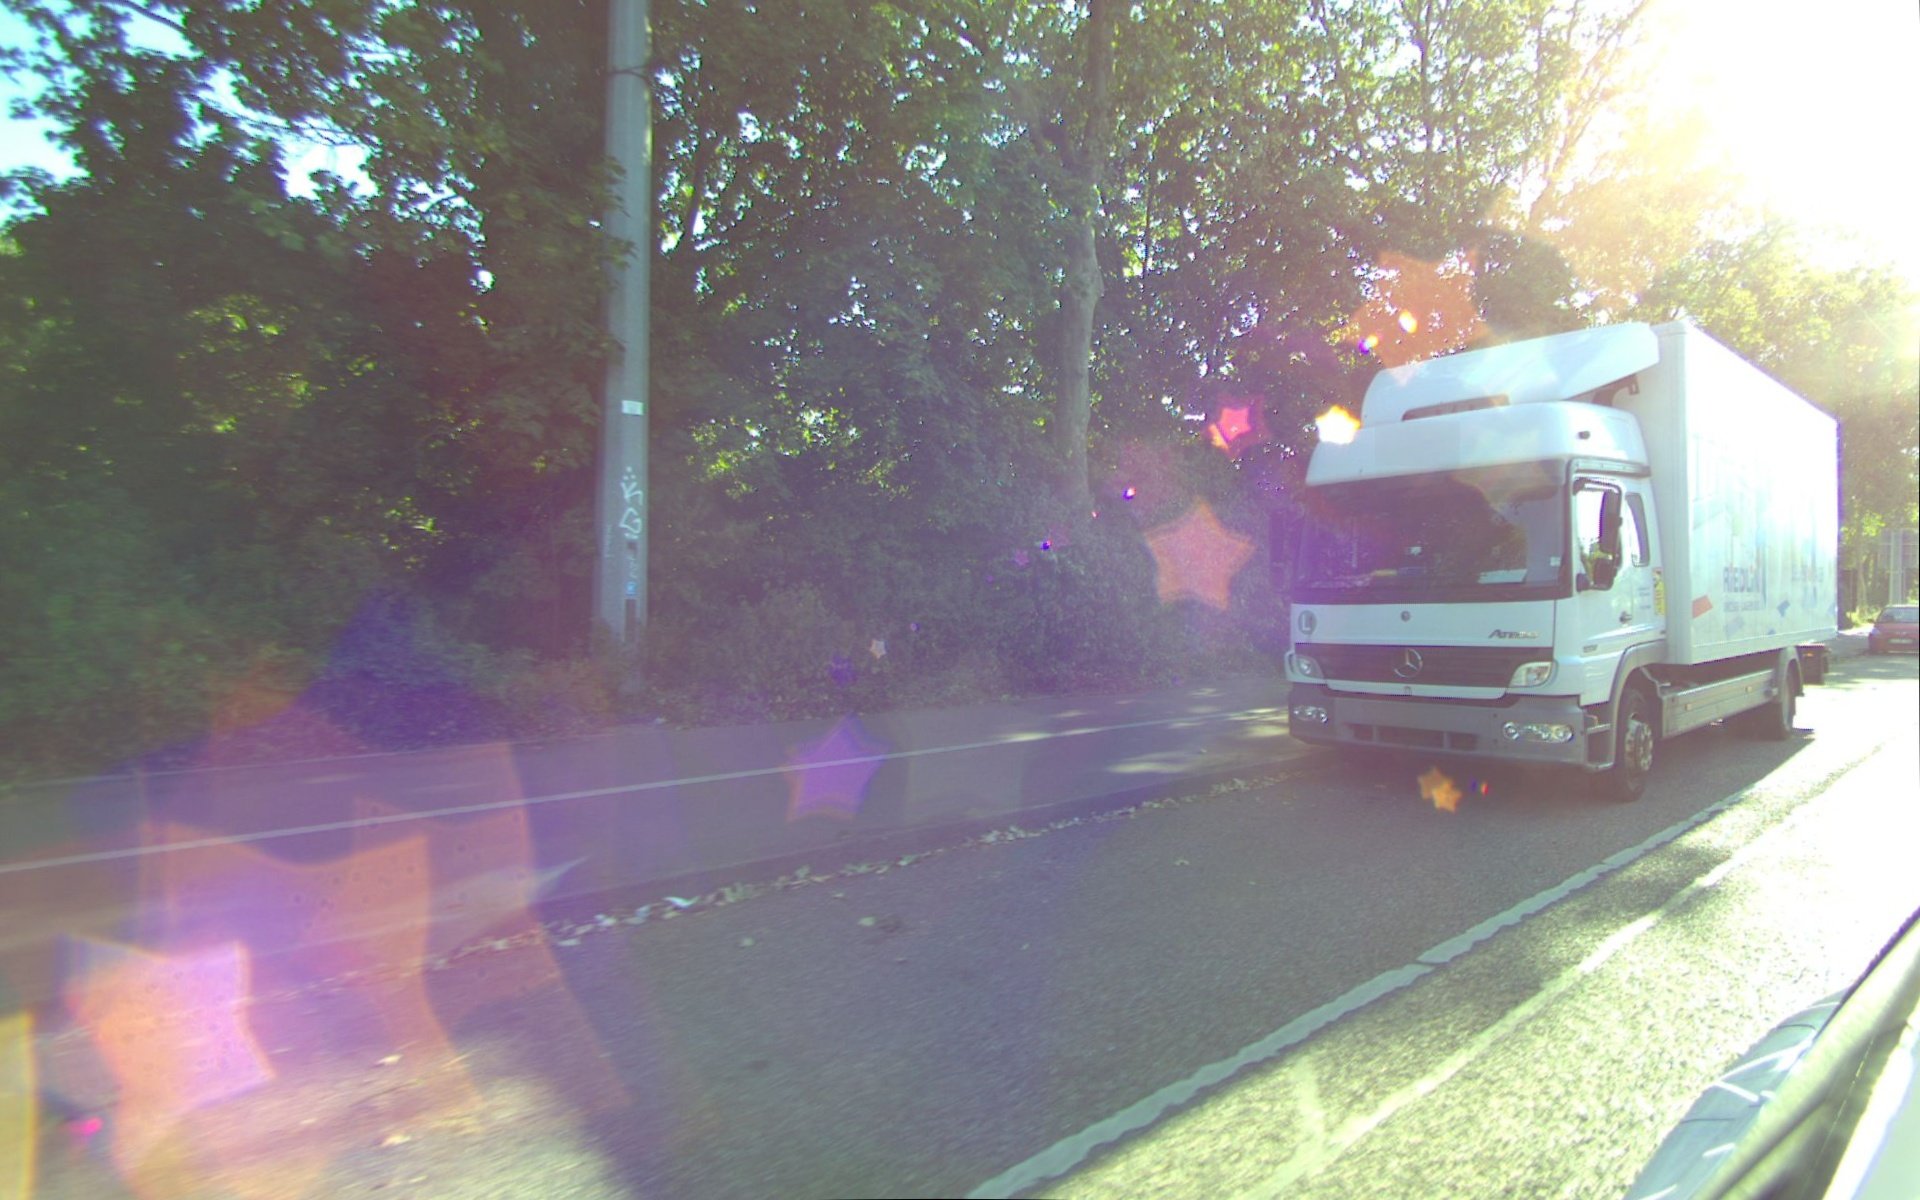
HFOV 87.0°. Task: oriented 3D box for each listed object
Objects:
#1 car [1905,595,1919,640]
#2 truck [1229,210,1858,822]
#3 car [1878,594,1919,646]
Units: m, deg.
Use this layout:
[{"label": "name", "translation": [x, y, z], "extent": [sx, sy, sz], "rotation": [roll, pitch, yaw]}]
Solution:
[{"label": "car", "translation": [33.723, 0.575, 34.545], "extent": [4.094, 1.475, 1.811], "rotation": [0, 0, -42]}, {"label": "truck", "translation": [6.845, -0.534, 10.664], "extent": [9.913, 3.831, 2.746], "rotation": [0, 0, -41]}, {"label": "car", "translation": [29.842, 0.597, 31.365], "extent": [3.576, 1.556, 1.643], "rotation": [0, -1, -41]}]
